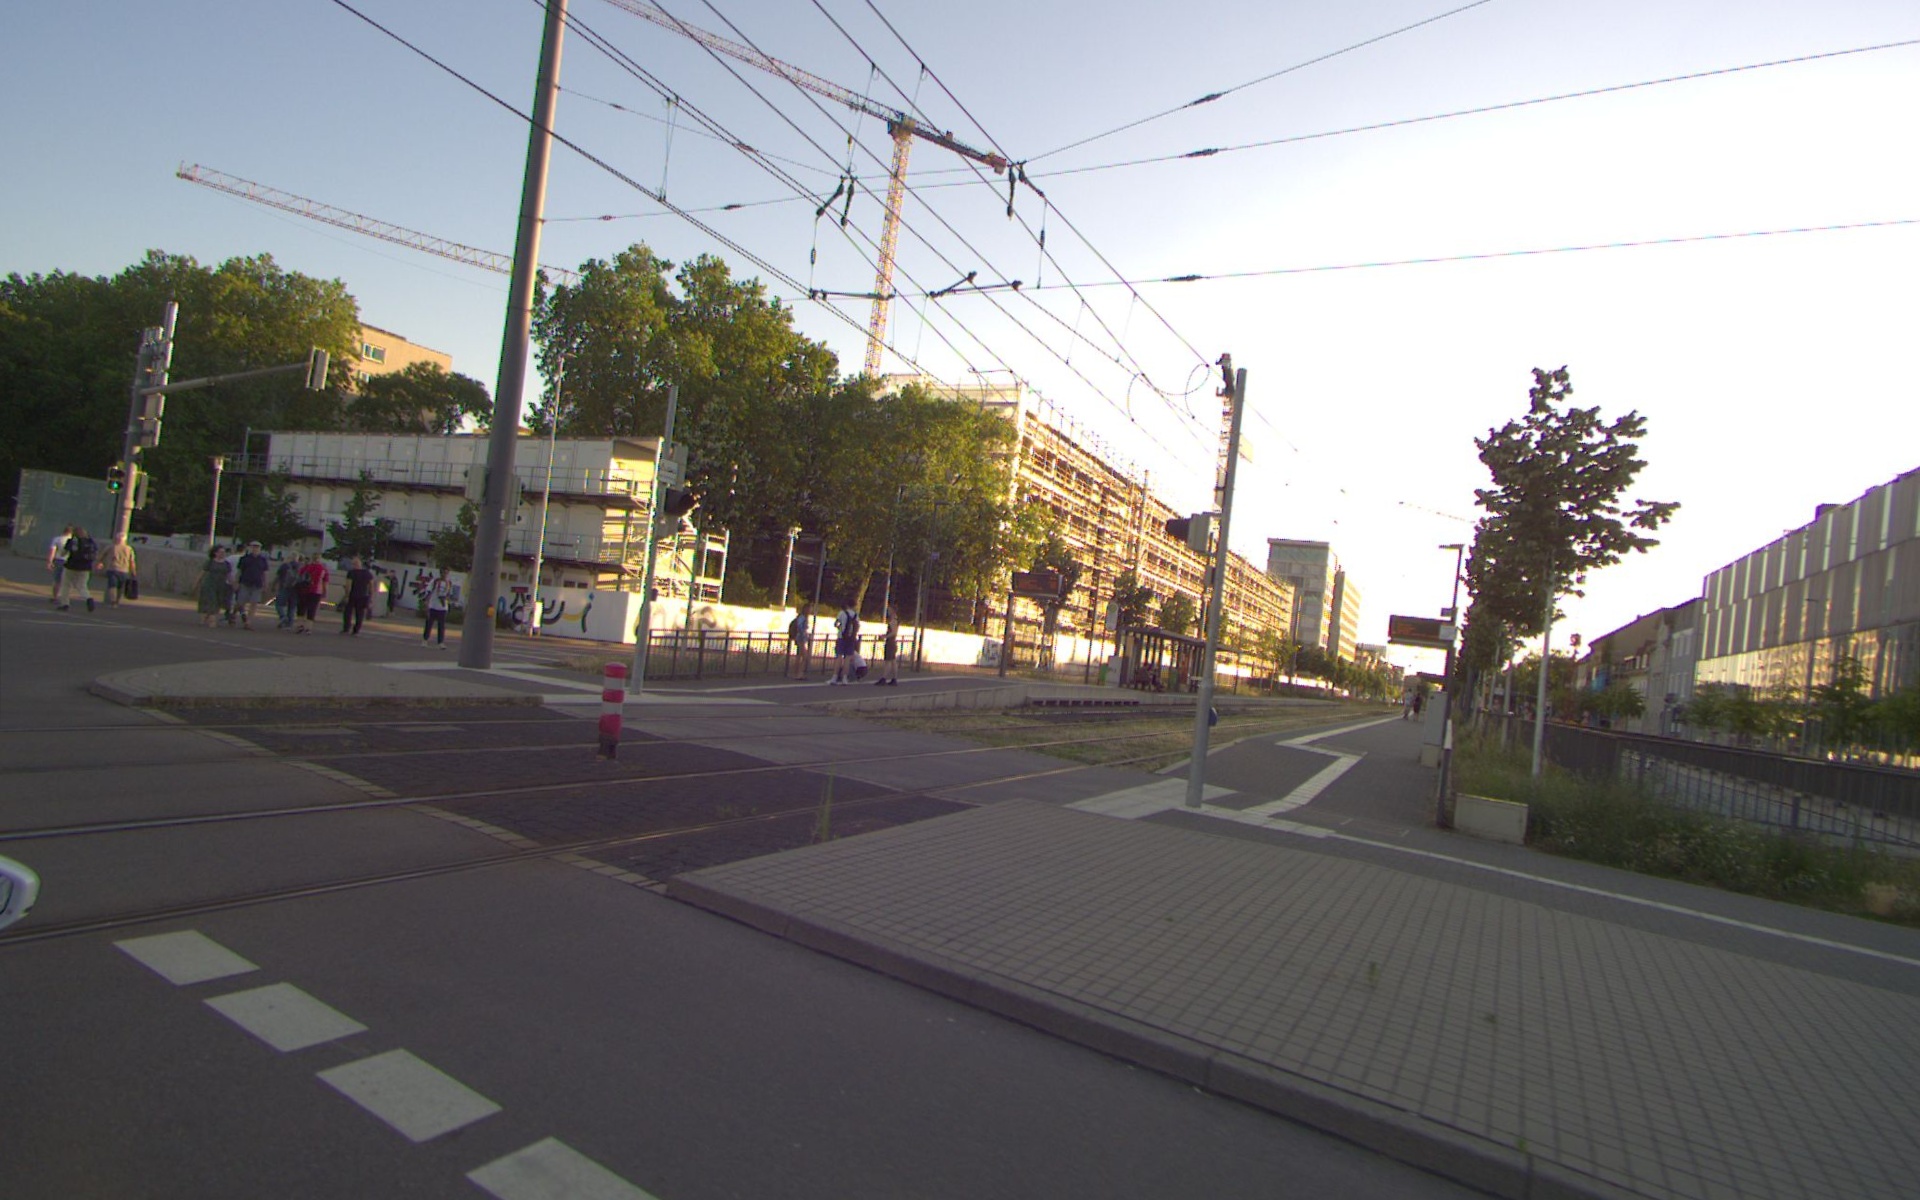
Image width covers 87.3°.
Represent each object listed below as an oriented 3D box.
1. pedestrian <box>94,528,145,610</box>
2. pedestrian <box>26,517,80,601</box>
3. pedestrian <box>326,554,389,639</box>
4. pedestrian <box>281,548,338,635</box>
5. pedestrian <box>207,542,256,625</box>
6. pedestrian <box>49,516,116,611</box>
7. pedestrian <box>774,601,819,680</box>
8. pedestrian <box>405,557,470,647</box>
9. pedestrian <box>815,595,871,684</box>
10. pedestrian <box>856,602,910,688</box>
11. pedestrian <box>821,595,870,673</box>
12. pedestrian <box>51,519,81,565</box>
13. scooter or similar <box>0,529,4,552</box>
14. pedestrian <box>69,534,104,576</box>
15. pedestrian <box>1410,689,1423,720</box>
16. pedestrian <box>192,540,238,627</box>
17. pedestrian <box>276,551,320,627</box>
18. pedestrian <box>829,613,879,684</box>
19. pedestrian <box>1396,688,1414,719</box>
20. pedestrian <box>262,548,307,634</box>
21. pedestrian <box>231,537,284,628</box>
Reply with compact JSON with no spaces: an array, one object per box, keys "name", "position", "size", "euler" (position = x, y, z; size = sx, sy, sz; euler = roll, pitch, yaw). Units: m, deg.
[{"name":"pedestrian","position":[-19.141,-0.703,22.907],"size":[0.709,1.745,0.660],"euler":[8,-1,-42]},{"name":"pedestrian","position":[-19.921,-0.902,22.105],"size":[0.709,1.745,0.660],"euler":[8,-1,-42]},{"name":"pedestrian","position":[-13.857,-0.074,23.137],"size":[0.788,1.812,0.805],"euler":[7,-1,37]},{"name":"pedestrian","position":[-13.953,-0.187,21.570],"size":[0.701,1.755,0.837],"euler":[8,-1,-43]},{"name":"pedestrian","position":[-16.329,-0.380,22.564],"size":[0.707,1.745,0.906],"euler":[8,-1,-36]},{"name":"pedestrian","position":[-17.275,-0.718,19.804],"size":[0.902,1.745,0.710],"euler":[6,-1,41]},{"name":"pedestrian","position":[-3.495,0.876,21.560],"size":[0.527,1.611,0.572],"euler":[6,-1,30]},{"name":"pedestrian","position":[-11.384,0.048,21.933],"size":[0.788,1.812,0.805],"euler":[7,-1,38]},{"name":"pedestrian","position":[-2.453,0.825,21.035],"size":[0.658,1.745,0.711],"euler":[6,-1,39]},{"name":"pedestrian","position":[-1.658,0.979,21.764],"size":[0.658,1.745,0.711],"euler":[6,-1,39]},{"name":"pedestrian","position":[-2.723,0.818,23.975],"size":[0.657,1.745,0.713],"euler":[7,-1,28]},{"name":"pedestrian","position":[-38.628,-2.495,43.458],"size":[0.702,1.864,0.666],"euler":[7,-1,36]},{"name":"scooter or similar","position":[-54.152,-3.438,55.894],"size":[2.933,1.217,0.570],"euler":[6,-1,30]},{"name":"pedestrian","position":[-32.999,-1.701,37.995],"size":[0.701,1.466,0.667],"euler":[7,-1,31]},{"name":"pedestrian","position":[25.778,5.912,56.804],"size":[0.396,1.689,0.448],"euler":[6,-1,37]},{"name":"pedestrian","position":[-15.156,-0.346,20.467],"size":[0.557,1.674,0.893],"euler":[8,-1,-38]},{"name":"pedestrian","position":[-15.524,-0.254,23.600],"size":[0.630,1.698,0.571],"euler":[6,-1,45]},{"name":"pedestrian","position":[-2.344,1.065,22.178],"size":[0.672,1.458,0.707],"euler":[8,-1,-37]},{"name":"pedestrian","position":[25.353,5.893,57.275],"size":[0.657,1.689,0.575],"euler":[6,-1,36]},{"name":"pedestrian","position":[-14.974,-0.193,22.295],"size":[0.570,1.812,0.632],"euler":[8,-1,-40]},{"name":"pedestrian","position":[-14.609,-0.372,20.921],"size":[0.676,1.778,0.893],"euler":[8,-1,-39]}]
